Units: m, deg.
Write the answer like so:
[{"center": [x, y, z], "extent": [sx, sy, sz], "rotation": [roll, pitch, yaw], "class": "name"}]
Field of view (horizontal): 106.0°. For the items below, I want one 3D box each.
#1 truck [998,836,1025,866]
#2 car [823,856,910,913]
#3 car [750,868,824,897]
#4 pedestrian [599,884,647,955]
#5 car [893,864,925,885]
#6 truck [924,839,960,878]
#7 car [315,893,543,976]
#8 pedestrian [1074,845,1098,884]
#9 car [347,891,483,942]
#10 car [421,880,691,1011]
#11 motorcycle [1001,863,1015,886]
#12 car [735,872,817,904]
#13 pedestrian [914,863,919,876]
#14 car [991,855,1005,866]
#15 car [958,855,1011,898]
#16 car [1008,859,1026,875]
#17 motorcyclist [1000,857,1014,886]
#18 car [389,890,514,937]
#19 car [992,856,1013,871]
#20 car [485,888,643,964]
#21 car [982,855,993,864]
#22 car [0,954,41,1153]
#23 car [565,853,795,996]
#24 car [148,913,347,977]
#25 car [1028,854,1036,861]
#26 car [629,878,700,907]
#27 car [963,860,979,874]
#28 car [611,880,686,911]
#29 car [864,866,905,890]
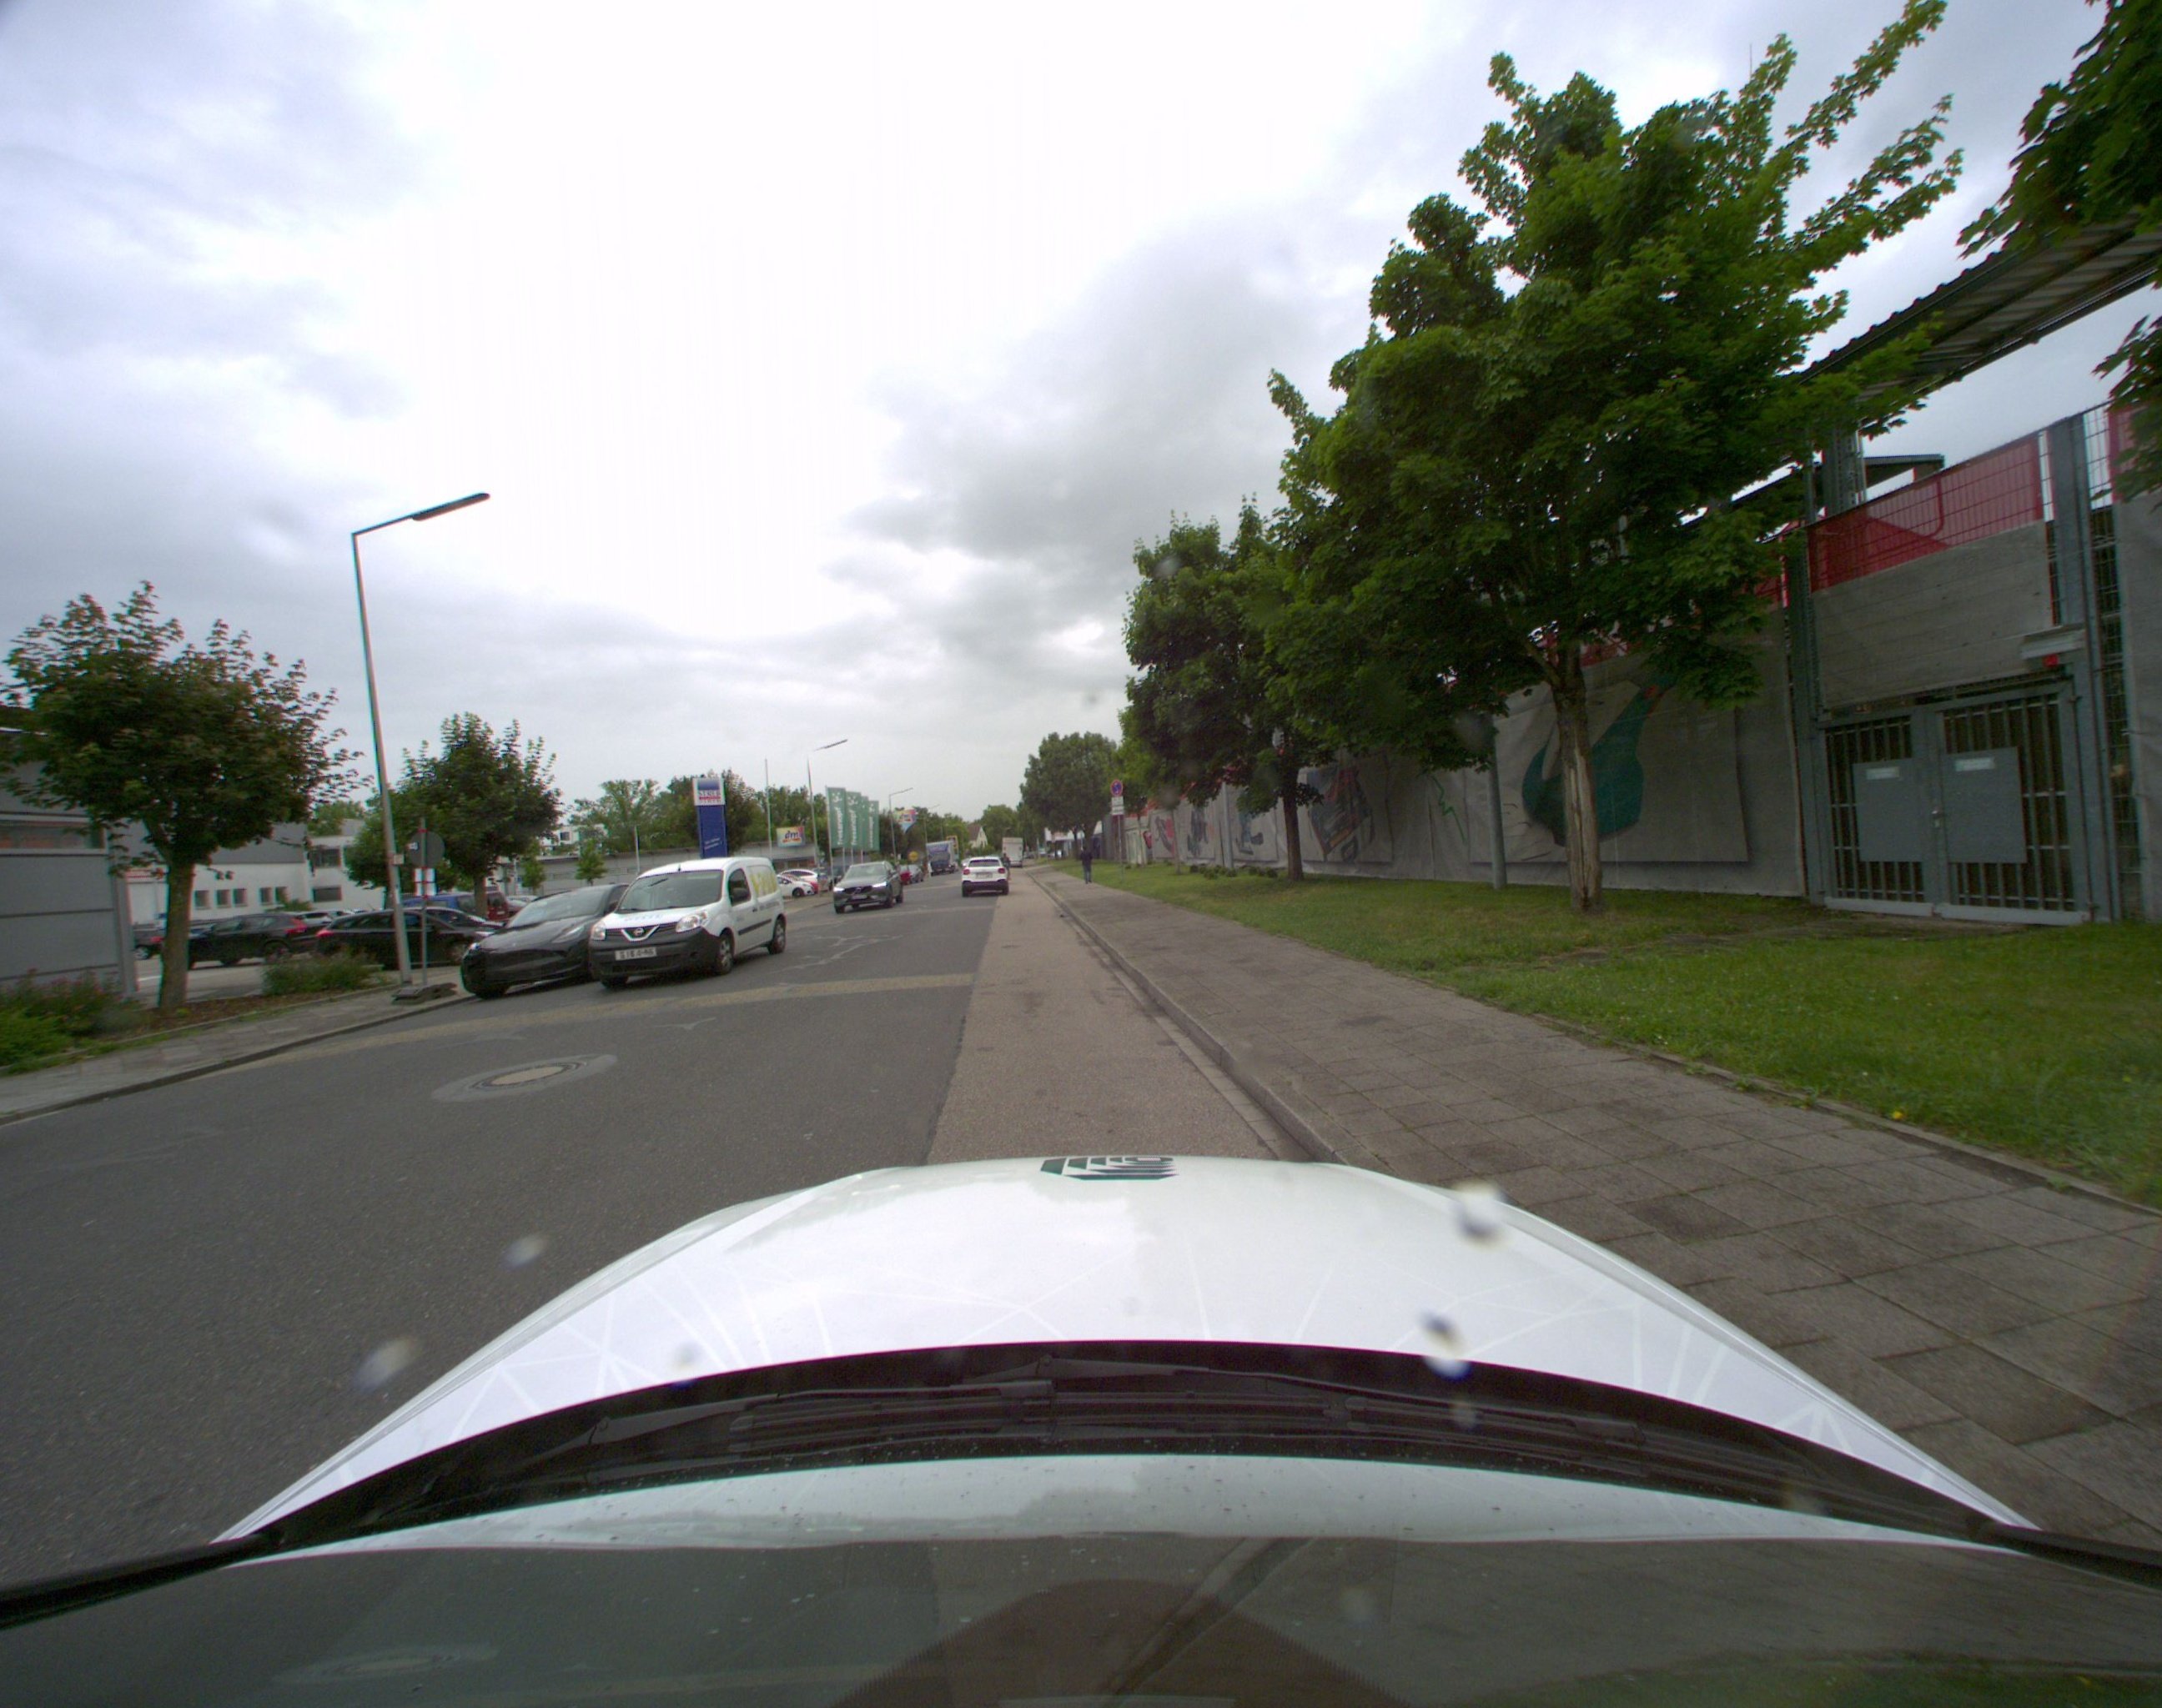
[{"center": [-9.219, -0.335, 106.979], "extent": [3.131, 3.584, 10.028], "rotation": [-3, -1, -6], "class": "truck"}, {"center": [-7.551, 1.026, 29.139], "extent": [1.929, 1.683, 4.490], "rotation": [-6, 0, -3], "class": "car"}, {"center": [-19.133, 1.857, 53.126], "extent": [4.137, 1.463, 1.892], "rotation": [-5, 0, -11], "class": "car"}, {"center": [-11.813, 1.669, 21.016], "extent": [0.775, 1.715, 0.694], "rotation": [-4, 0, -9], "class": "pedestrian"}, {"center": [-13.602, 1.593, 64.563], "extent": [1.895, 1.367, 3.993], "rotation": [-5, 0, -5], "class": "car"}, {"center": [-15.634, 0.528, 92.094], "extent": [2.969, 3.955, 6.394], "rotation": [-6, 0, -4], "class": "truck"}, {"center": [-15.866, 1.918, 20.009], "extent": [3.867, 1.620, 1.924], "rotation": [-3, 0, -5], "class": "car"}, {"center": [0.221, 0.470, 35.805], "extent": [0.917, 1.635, 0.851], "rotation": [-3, -1, -3], "class": "pedestrian"}, {"center": [-28.216, 2.619, 34.601], "extent": [3.981, 1.669, 1.873], "rotation": [-5, 0, -5], "class": "car"}, {"center": [-8.778, 1.411, 14.200], "extent": [1.944, 1.526, 4.394], "rotation": [-9, 1, -5], "class": "car"}, {"center": [-4.080, 1.115, 45.612], "extent": [0.639, 1.178, 2.111], "rotation": [-5, 0, -3], "class": "motorcycle"}, {"center": [-18.074, 1.976, 48.401], "extent": [4.208, 1.463, 1.944], "rotation": [-5, 0, -13], "class": "car"}, {"center": [-18.828, 1.778, 93.017], "extent": [0.402, 1.531, 0.483], "rotation": [-5, 0, -11], "class": "pedestrian"}, {"center": [-12.954, 1.005, 127.027], "extent": [1.868, 1.661, 3.991], "rotation": [-5, 0, -7], "class": "car"}, {"center": [-3.829, 0.862, 32.953], "extent": [1.883, 1.531, 4.247], "rotation": [-3, 0, -4], "class": "car"}, {"center": [-7.752, 1.556, 98.223], "extent": [1.991, 1.806, 3.991], "rotation": [-3, -1, -6], "class": "car"}, {"center": [-4.159, 0.960, 45.712], "extent": [0.623, 1.554, 0.603], "rotation": [-5, 0, -3], "class": "motorcyclist"}, {"center": [-28.523, 2.661, 36.991], "extent": [3.981, 1.669, 1.873], "rotation": [-5, 0, -5], "class": "car"}, {"center": [-7.854, 0.945, 82.061], "extent": [1.935, 1.367, 3.992], "rotation": [-5, 0, -5], "class": "car"}, {"center": [-17.148, 2.340, 27.216], "extent": [3.933, 2.013, 1.754], "rotation": [-5, 0, -12], "class": "car"}, {"center": [-18.286, 1.071, 158.621], "extent": [1.991, 1.684, 3.991], "rotation": [-3, -1, -6], "class": "car"}, {"center": [-8.254, 1.528, 3.545], "extent": [1.697, 1.367, 4.509], "rotation": [-9, 1, -5], "class": "car"}, {"center": [-6.184, 0.954, 13.175], "extent": [1.686, 1.760, 4.129], "rotation": [-6, 0, -3], "class": "car"}, {"center": [-26.835, 2.886, 26.401], "extent": [3.998, 1.485, 1.865], "rotation": [-5, 0, -18], "class": "car"}, {"center": [-12.054, 0.842, 201.963], "extent": [1.883, 1.683, 4.247], "rotation": [-3, 0, -4], "class": "car"}, {"center": [-29.717, 2.720, 58.194], "extent": [3.981, 1.669, 1.873], "rotation": [-5, 0, -5], "class": "car"}, {"center": [-13.237, 1.515, 98.321], "extent": [1.596, 1.528, 3.522], "rotation": [-6, 0, -4], "class": "car"}, {"center": [-29.657, 2.845, 55.899], "extent": [3.981, 1.669, 1.873], "rotation": [-5, 0, -5], "class": "car"}, {"center": [-12.813, 1.540, 53.227], "extent": [1.895, 1.367, 3.993], "rotation": [-5, 0, -5], "class": "car"}]
